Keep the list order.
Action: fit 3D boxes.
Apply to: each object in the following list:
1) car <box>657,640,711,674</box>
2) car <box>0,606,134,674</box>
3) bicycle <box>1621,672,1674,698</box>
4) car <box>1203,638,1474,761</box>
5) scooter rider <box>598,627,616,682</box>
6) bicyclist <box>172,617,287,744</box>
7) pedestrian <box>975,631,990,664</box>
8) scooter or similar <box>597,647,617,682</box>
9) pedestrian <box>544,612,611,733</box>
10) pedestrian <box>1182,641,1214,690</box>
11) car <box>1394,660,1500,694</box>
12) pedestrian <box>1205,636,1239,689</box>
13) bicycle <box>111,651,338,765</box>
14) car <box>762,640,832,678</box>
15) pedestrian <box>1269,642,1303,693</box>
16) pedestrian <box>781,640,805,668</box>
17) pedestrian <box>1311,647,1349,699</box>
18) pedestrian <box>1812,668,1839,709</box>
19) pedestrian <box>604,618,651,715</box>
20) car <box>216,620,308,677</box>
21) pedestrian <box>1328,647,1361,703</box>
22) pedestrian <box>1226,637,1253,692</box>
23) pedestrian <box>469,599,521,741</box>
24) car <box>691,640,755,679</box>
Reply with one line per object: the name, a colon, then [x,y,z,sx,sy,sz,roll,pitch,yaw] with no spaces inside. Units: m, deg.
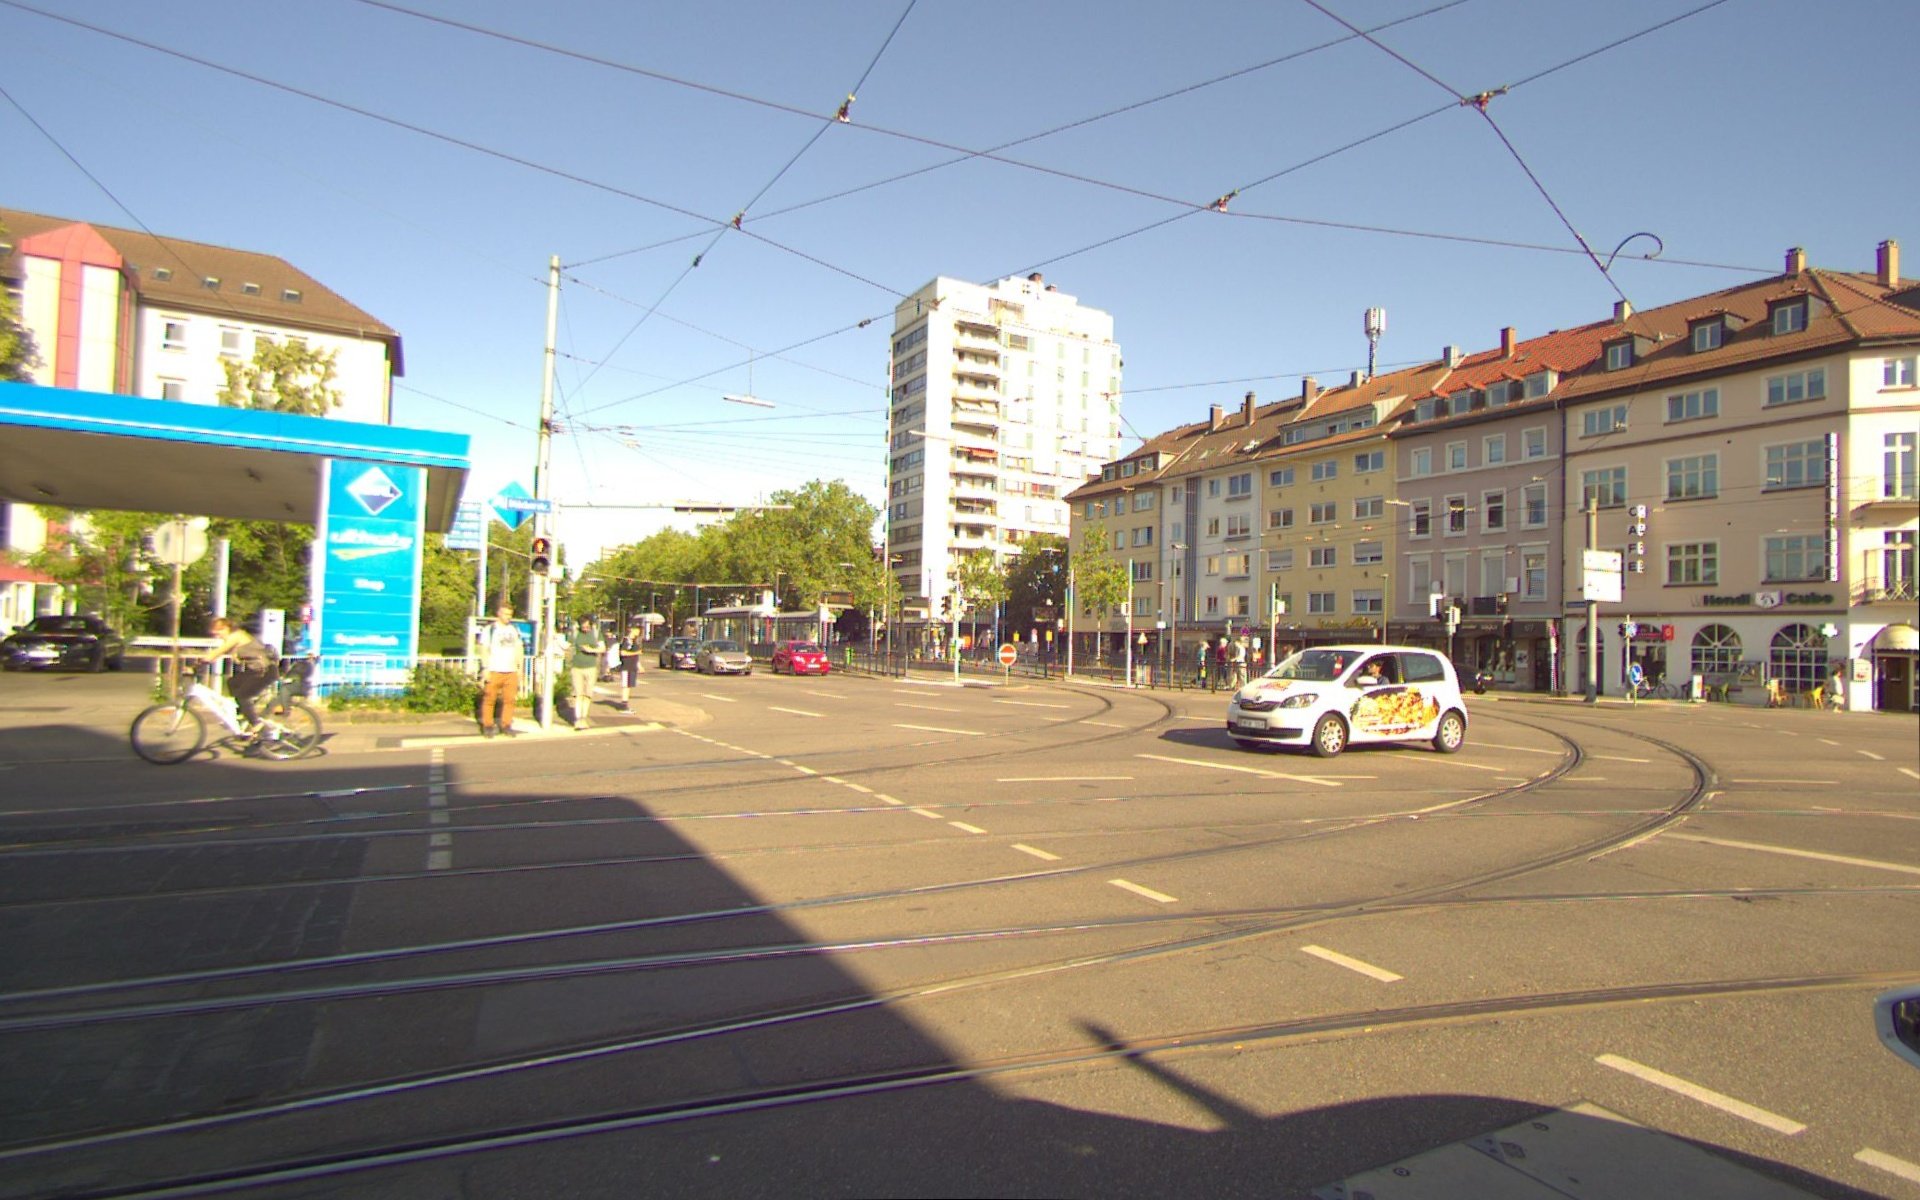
car: [-13.365,2.739,48.515,1.720,1.539,3.973,3,-3,-27]
car: [-22.047,0.987,24.826,1.696,1.505,4.188,3,-3,-29]
bicycle: [31.129,3.826,45.492,0.578,1.081,1.930,3,-3,-35]
car: [5.356,1.341,14.150,3.540,1.516,1.710,3,-3,-29]
scooter rider: [-12.459,1.917,35.466,0.458,1.925,0.687,3,-3,-27]
bicyclist: [-8.107,0.886,11.185,0.886,1.357,0.601,2,-2,-26]
pedestrian: [1.101,2.355,49.820,0.585,1.588,0.731,2,-2,-8]
scooter or similar: [-12.490,2.278,35.512,0.458,1.198,1.466,3,-3,-27]
pedestrian: [-5.960,1.122,15.699,0.727,1.824,0.742,2,-2,-4]
pedestrian: [8.232,2.274,34.753,0.794,1.652,0.863,2,-2,-11]
car: [24.329,3.833,50.314,1.725,1.458,4.617,3,-3,-31]
pedestrian: [8.832,2.096,33.900,0.832,1.746,0.825,2,-2,-6]
bicycle: [-8.101,1.182,11.168,1.933,1.181,0.483,3,-3,-27]
car: [-7.171,2.550,43.876,1.696,1.505,4.188,3,-3,-29]
pedestrian: [11.570,2.397,35.684,0.812,1.755,0.784,2,-2,-24]
pedestrian: [-8.606,2.787,51.707,1.034,1.439,0.573,3,-3,-34]
pedestrian: [12.834,2.526,34.843,0.892,1.755,0.837,2,-2,-21]
pedestrian: [33.235,3.394,38.579,0.689,1.544,0.653,3,-3,-38]
pedestrian: [-6.201,1.240,18.768,0.721,1.751,0.746,2,-2,-14]
car: [-20.157,1.389,29.162,1.696,1.505,4.188,3,-3,-29]
pedestrian: [12.373,2.408,32.340,0.793,1.755,0.648,3,-3,-34]
pedestrian: [9.167,2.119,32.993,0.807,1.755,0.790,1,-2,13]
pedestrian: [-6.593,0.987,14.233,0.577,1.951,0.627,2,-2,-28]
car: [-10.148,2.511,42.864,1.720,1.539,3.973,3,-3,-27]
